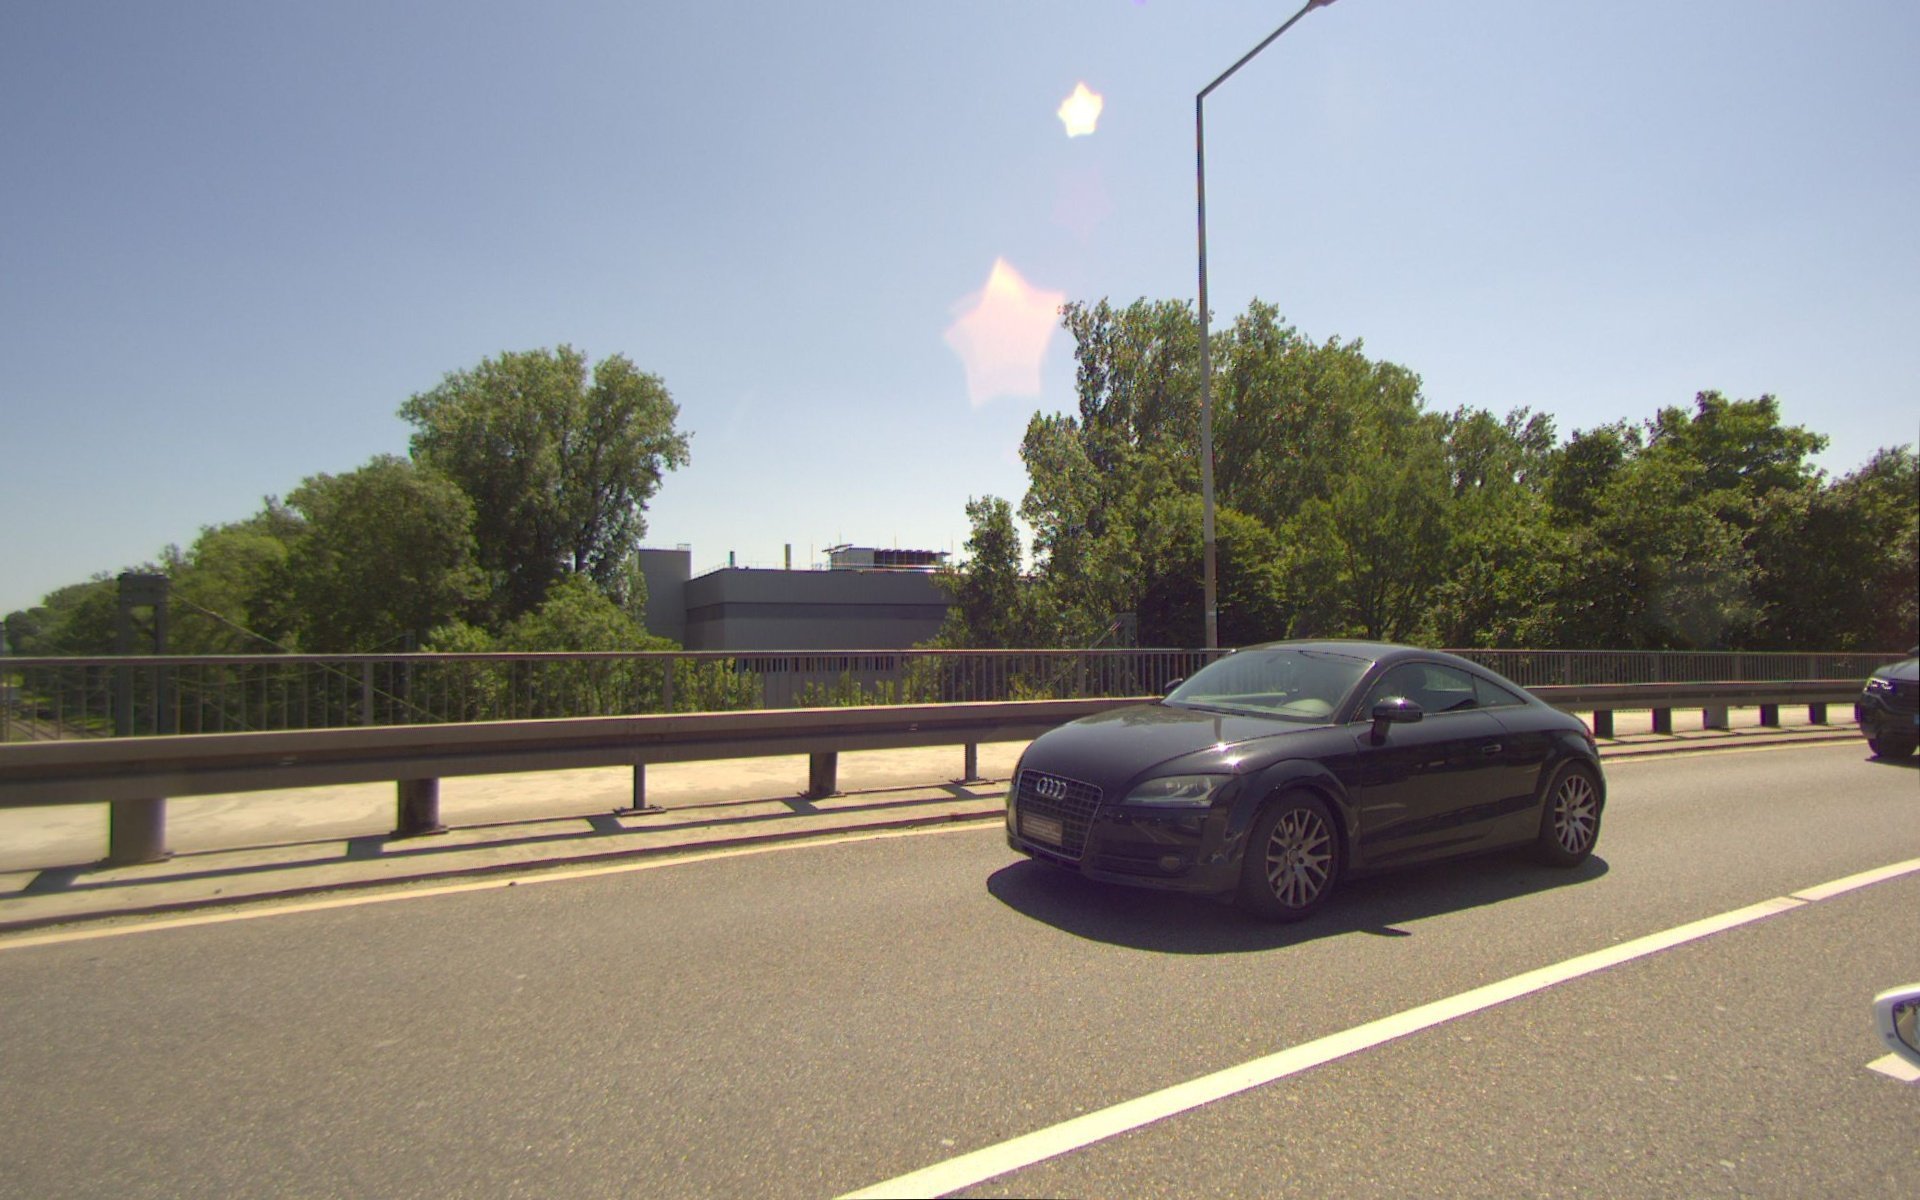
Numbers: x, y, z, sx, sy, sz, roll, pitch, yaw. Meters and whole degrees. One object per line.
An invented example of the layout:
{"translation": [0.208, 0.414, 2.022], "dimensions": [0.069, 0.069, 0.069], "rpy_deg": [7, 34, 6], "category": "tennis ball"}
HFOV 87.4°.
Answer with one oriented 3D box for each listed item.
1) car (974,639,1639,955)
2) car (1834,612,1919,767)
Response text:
{"translation": [2.191, 0.926, 6.087], "dimensions": [3.926, 1.325, 1.670], "rpy_deg": [1, -1, -30], "category": "car"}
{"translation": [12.689, 1.030, 11.808], "dimensions": [4.550, 1.695, 1.961], "rpy_deg": [1, -1, -24], "category": "car"}
